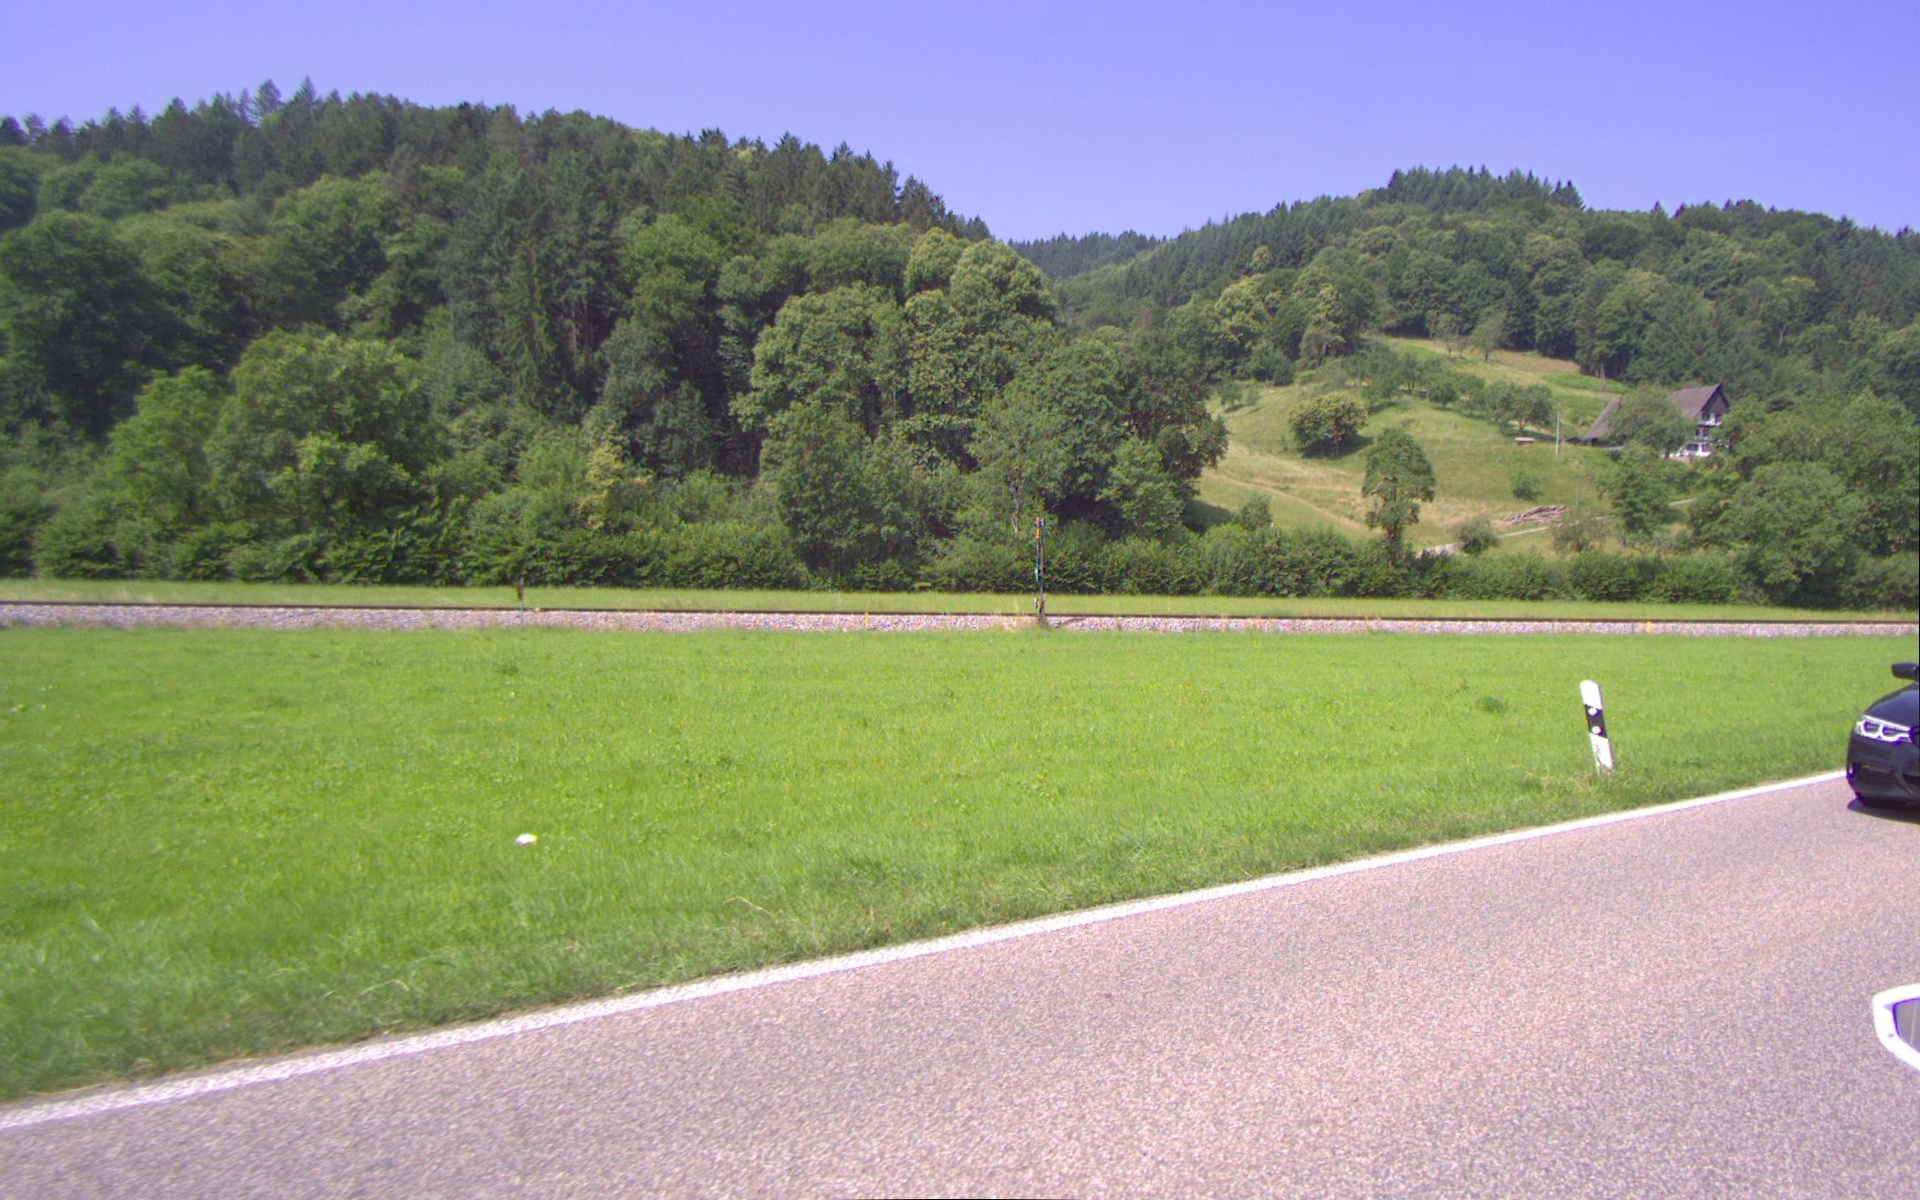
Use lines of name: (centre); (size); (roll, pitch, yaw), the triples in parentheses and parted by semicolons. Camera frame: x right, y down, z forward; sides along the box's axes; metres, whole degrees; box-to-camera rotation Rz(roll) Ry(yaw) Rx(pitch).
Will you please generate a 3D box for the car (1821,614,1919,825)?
car: (8.929, 0.877, 8.047); (4.462, 1.490, 1.905); (0, 1, -33)
